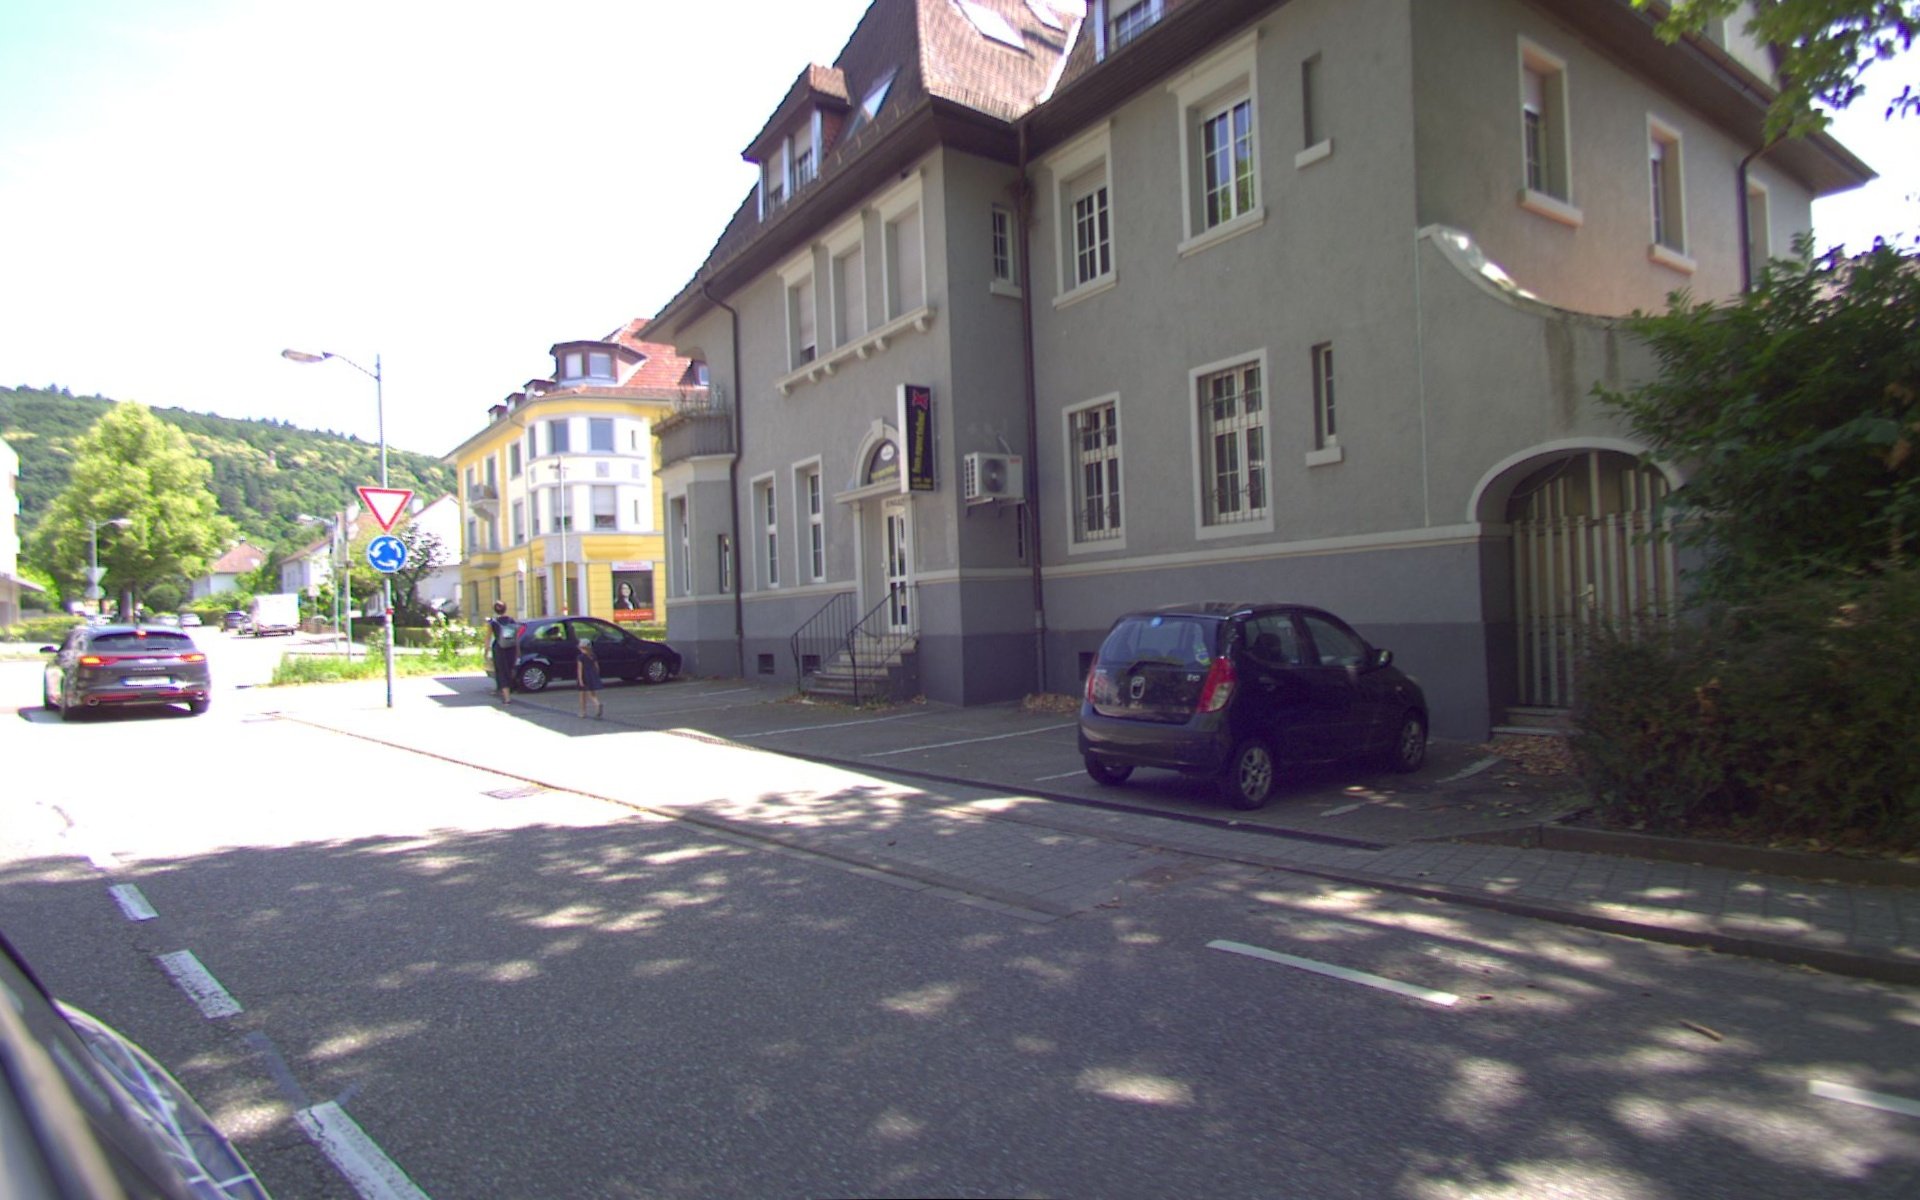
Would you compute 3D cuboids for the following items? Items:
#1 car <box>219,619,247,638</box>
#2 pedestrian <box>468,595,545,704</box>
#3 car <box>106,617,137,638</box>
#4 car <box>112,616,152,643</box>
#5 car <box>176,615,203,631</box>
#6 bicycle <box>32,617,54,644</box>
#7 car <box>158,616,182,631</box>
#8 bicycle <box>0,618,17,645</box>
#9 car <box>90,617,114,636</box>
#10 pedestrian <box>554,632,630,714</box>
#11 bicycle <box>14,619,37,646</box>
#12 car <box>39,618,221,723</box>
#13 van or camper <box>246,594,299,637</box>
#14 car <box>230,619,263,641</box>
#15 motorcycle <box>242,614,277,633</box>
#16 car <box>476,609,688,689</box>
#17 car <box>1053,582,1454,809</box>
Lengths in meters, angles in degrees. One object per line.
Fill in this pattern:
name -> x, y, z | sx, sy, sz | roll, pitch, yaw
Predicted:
car -> -62.058, 2.452, 86.347 | 1.728, 1.516, 4.000 | -1, -1, -39
pedestrian -> -7.637, 0.800, 17.038 | 0.861, 1.755, 1.113 | 0, -1, -44
car -> -72.892, 2.366, 87.933 | 1.969, 1.679, 4.006 | 0, 0, -41
car -> -48.658, 1.725, 59.430 | 1.729, 1.516, 3.998 | -1, -1, -40
car -> -82.300, 2.447, 108.070 | 1.969, 1.679, 4.006 | 0, 0, -41
bicycle -> -49.074, 1.621, 54.162 | 0.560, 1.388, 1.753 | 0, -1, -31
car -> -90.712, 2.690, 116.185 | 1.969, 1.679, 4.006 | 0, 0, -41
bicycle -> -50.329, 1.640, 53.342 | 0.560, 1.388, 1.753 | 0, -1, -31
car -> -85.522, 2.626, 100.895 | 1.739, 1.763, 4.007 | -1, 0, -39
pedestrian -> -5.379, 1.048, 14.801 | 0.745, 1.130, 0.898 | 0, -1, -44
bicycle -> -49.667, 1.721, 53.810 | 0.560, 1.388, 1.753 | 0, -1, -31
car -> -13.403, 1.030, 16.241 | 4.393, 1.437, 1.749 | -1, -1, 44
van or camper -> -45.834, 1.026, 67.402 | 2.239, 2.658, 5.896 | -4, 2, -40
car -> -52.585, 2.181, 74.530 | 1.728, 1.516, 4.000 | -1, -1, -39
motorcycle -> -49.517, 1.639, 71.570 | 0.731, 1.330, 2.229 | -1, -1, 7
car -> -7.708, 0.943, 20.781 | 3.733, 1.471, 1.727 | 0, -1, -40
car -> 2.602, 0.657, 8.685 | 3.339, 1.558, 1.727 | -1, -1, -40
